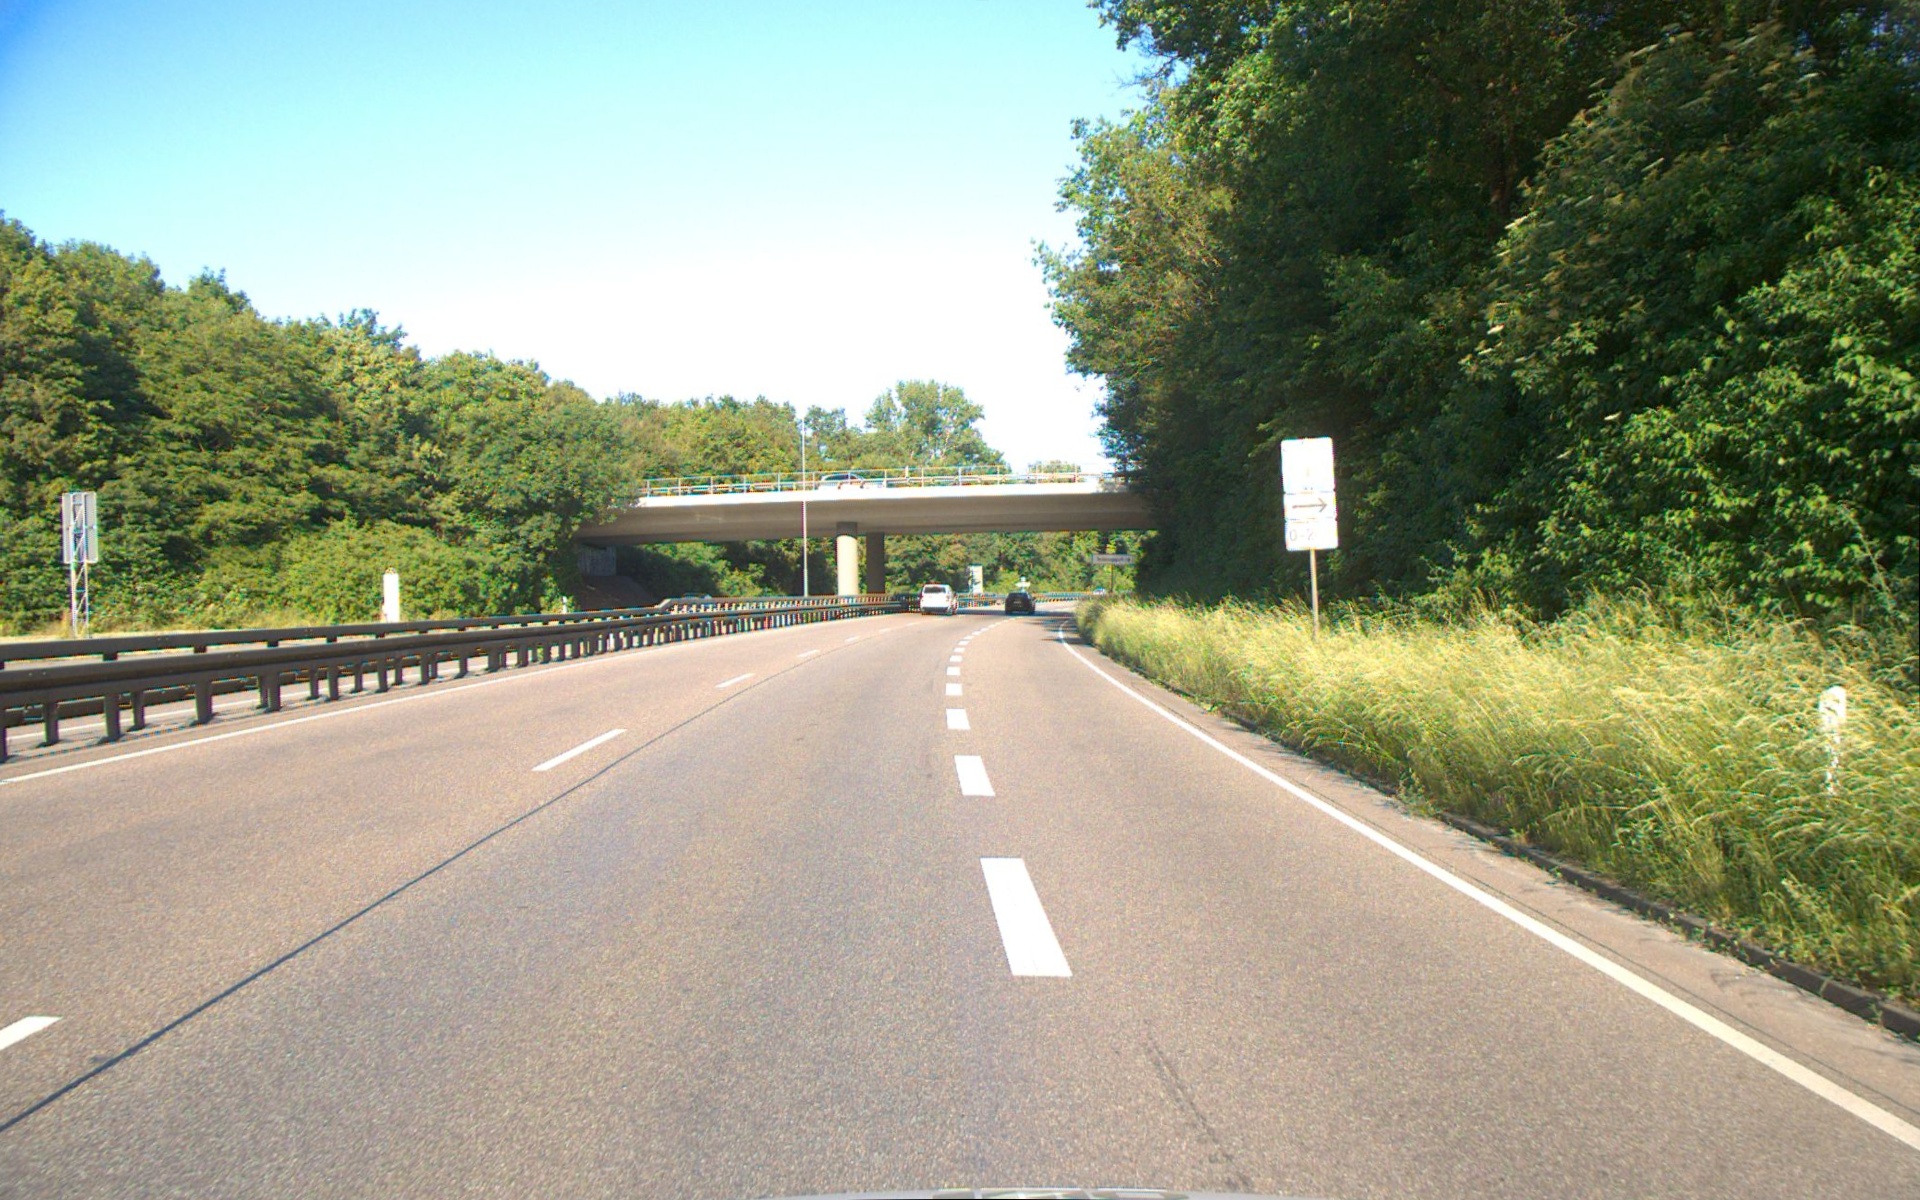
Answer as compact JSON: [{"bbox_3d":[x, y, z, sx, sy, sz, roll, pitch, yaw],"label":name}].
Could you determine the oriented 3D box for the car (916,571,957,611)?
[{"bbox_3d":[-1.356,-0.547,98.244,1.951,2.317,4.003,0,0,6],"label":"car"}]

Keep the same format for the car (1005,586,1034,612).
[{"bbox_3d":[3.962,-0.051,110.117,1.702,1.691,3.948,0,0,6],"label":"car"}]
